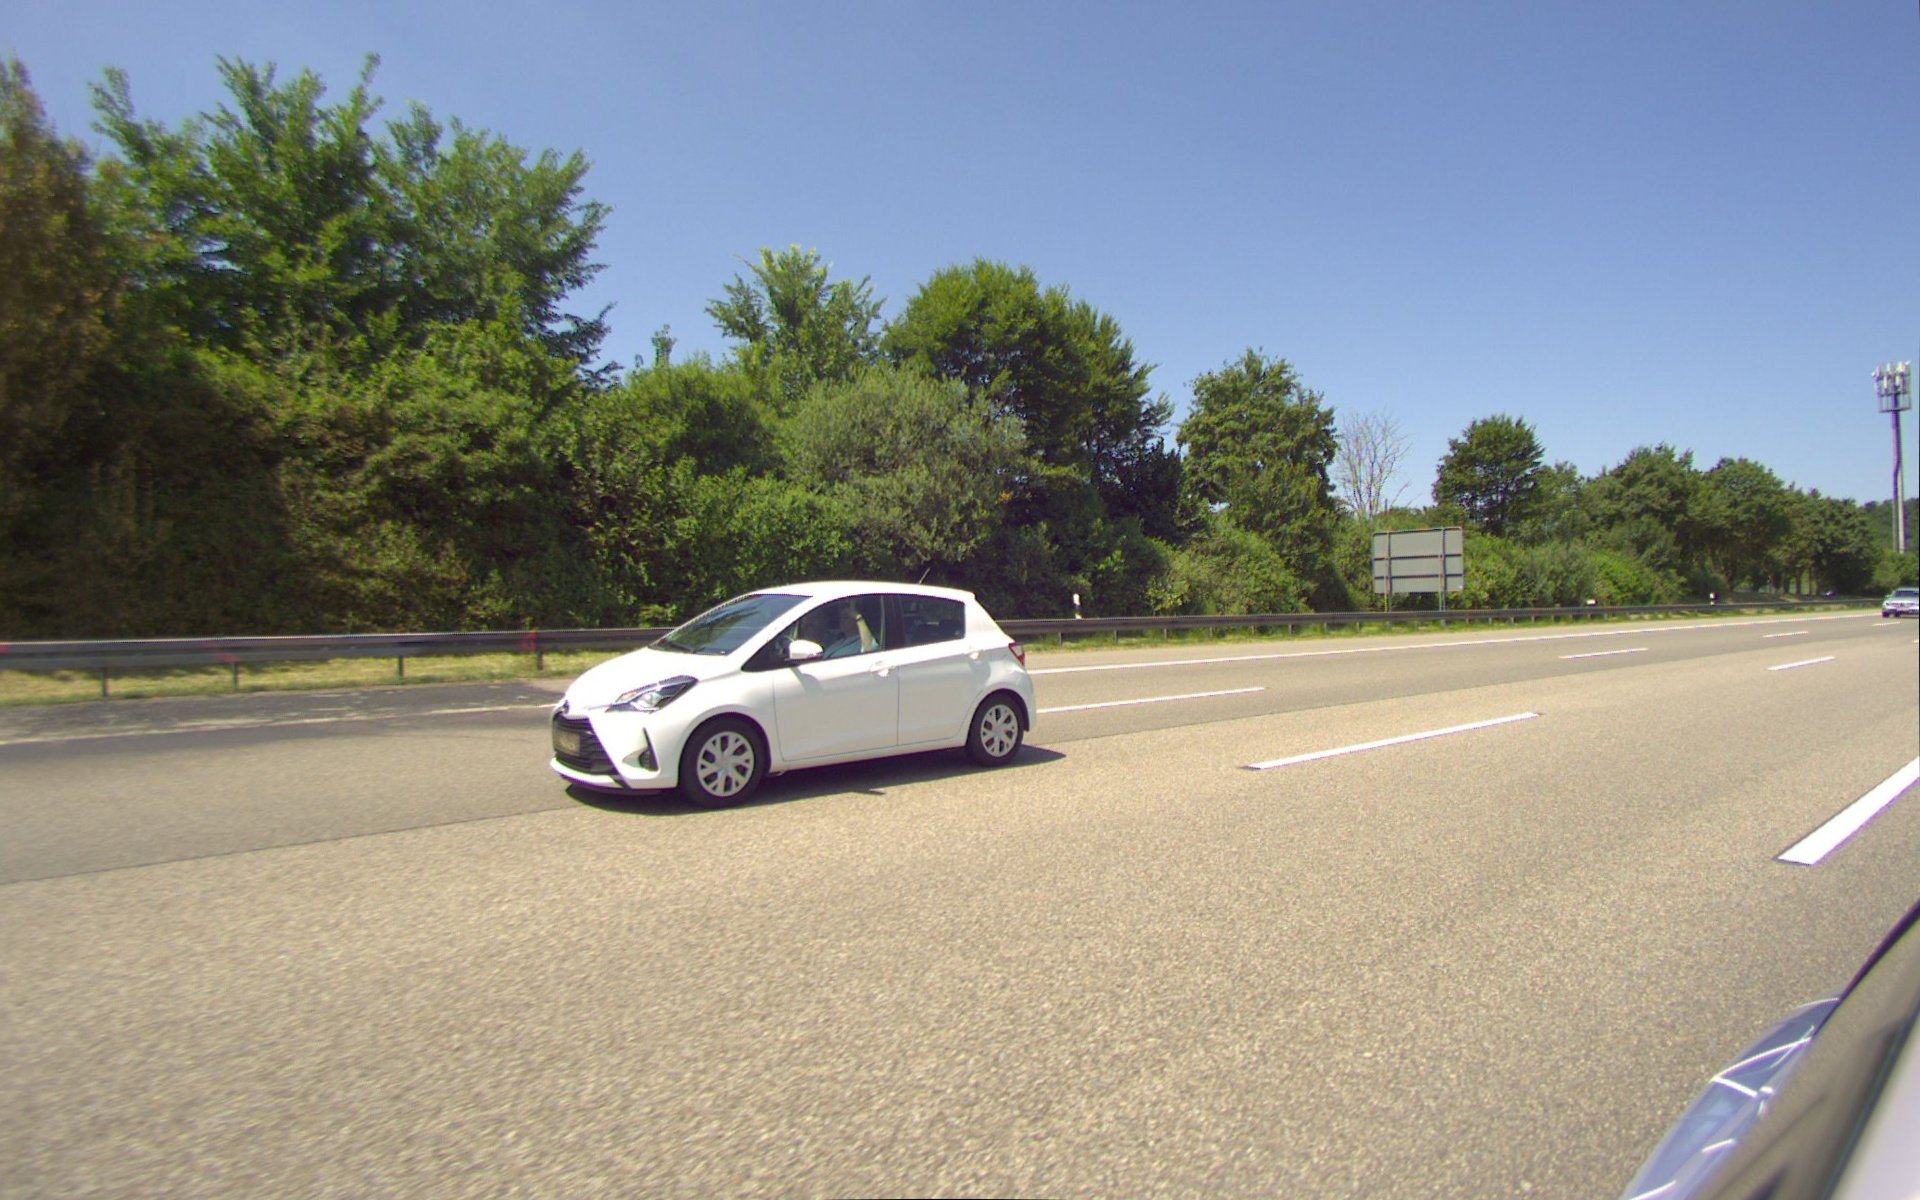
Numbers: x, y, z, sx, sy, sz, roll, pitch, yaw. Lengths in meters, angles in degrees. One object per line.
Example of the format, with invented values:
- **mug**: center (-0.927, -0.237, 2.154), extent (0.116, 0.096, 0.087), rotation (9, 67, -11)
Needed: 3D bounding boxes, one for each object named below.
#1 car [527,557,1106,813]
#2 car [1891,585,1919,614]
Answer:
- **car**: center (-0.944, 0.468, 8.192), extent (4.405, 1.538, 1.753), rotation (-1, 1, -40)
- **car**: center (53.386, -0.034, 56.156), extent (3.928, 1.549, 1.998), rotation (-1, 1, -39)
